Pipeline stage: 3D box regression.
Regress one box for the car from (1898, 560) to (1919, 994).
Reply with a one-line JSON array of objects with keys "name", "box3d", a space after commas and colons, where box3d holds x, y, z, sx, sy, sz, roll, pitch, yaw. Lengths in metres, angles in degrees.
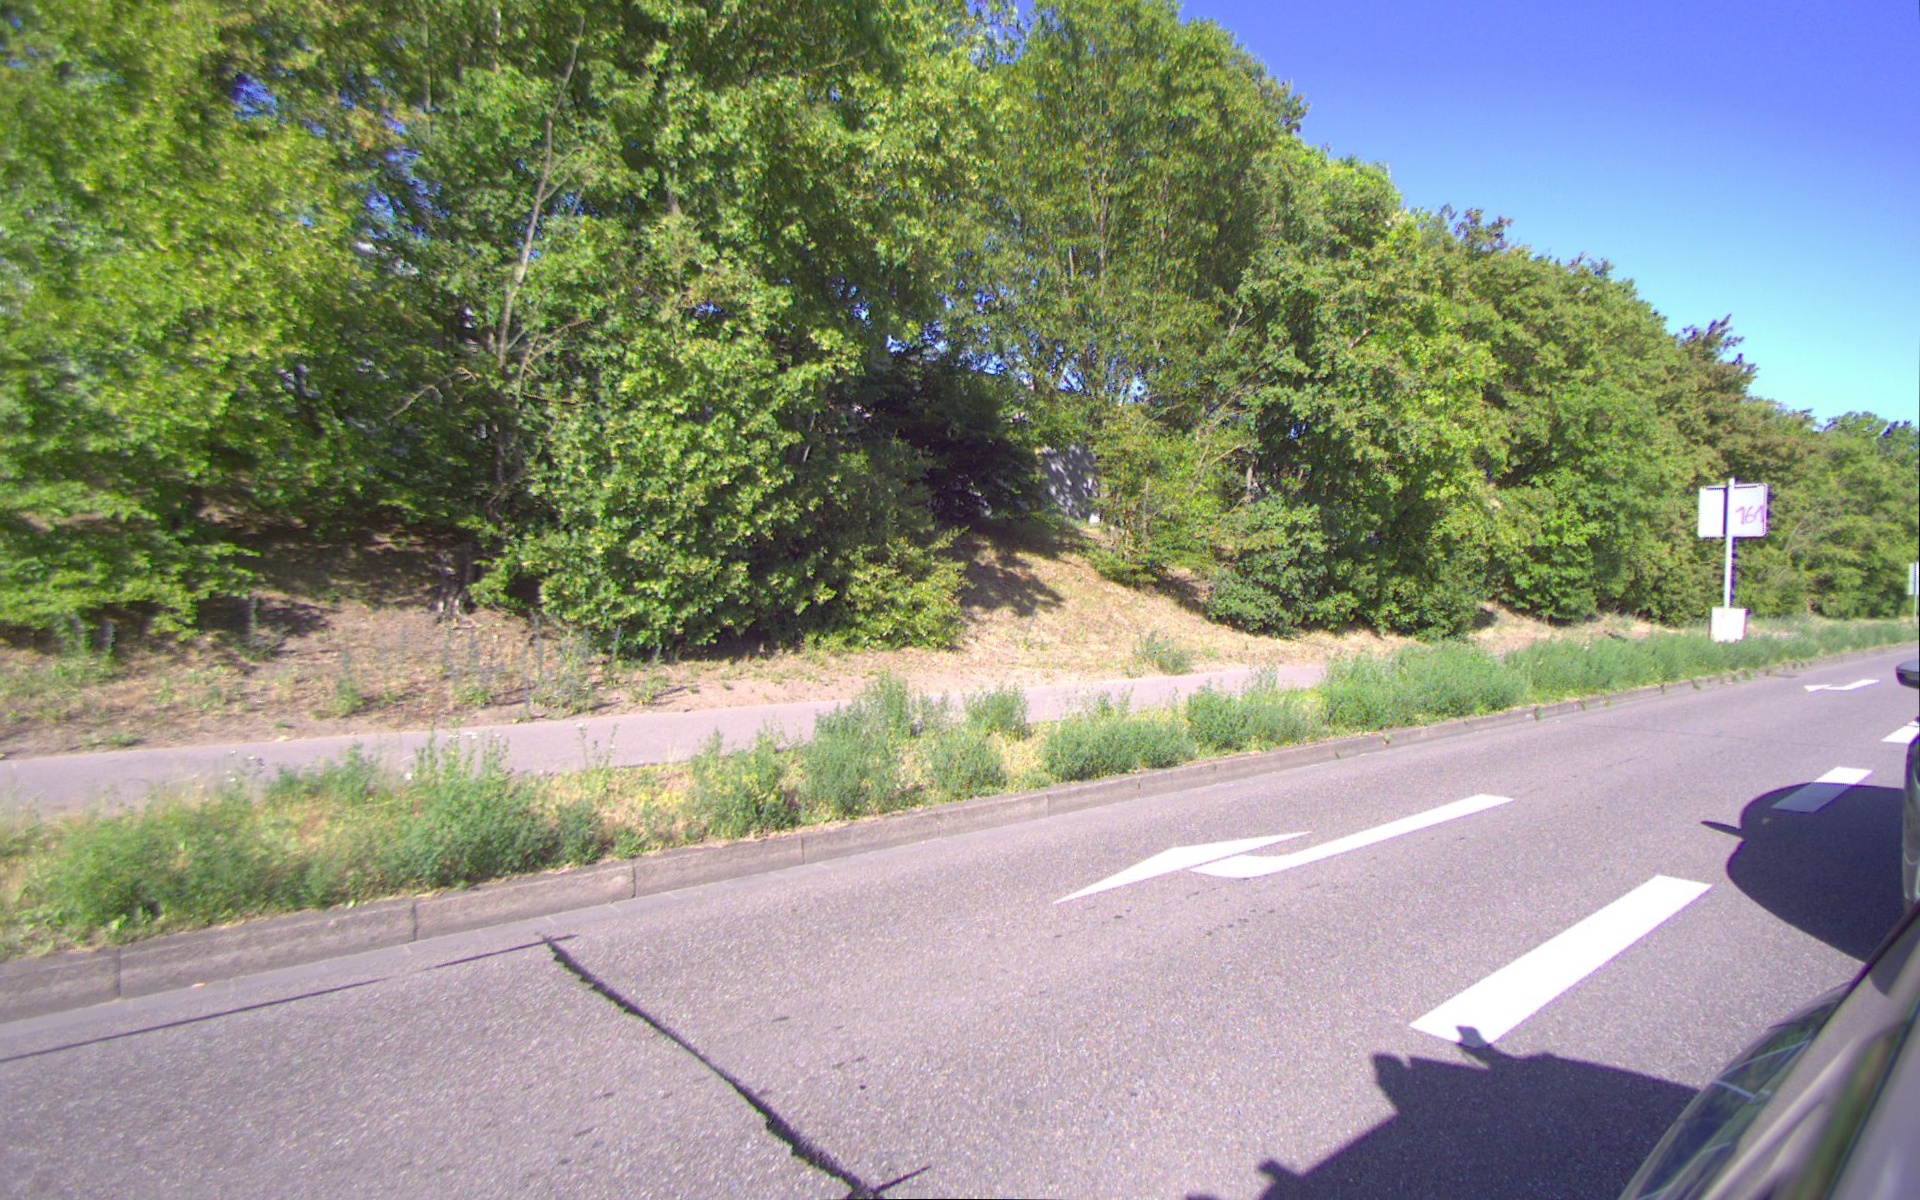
[{"name": "car", "box3d": [5.726, 0.655, 4.527, 4.327, 1.603, 1.860, 0, 0, -42]}]
